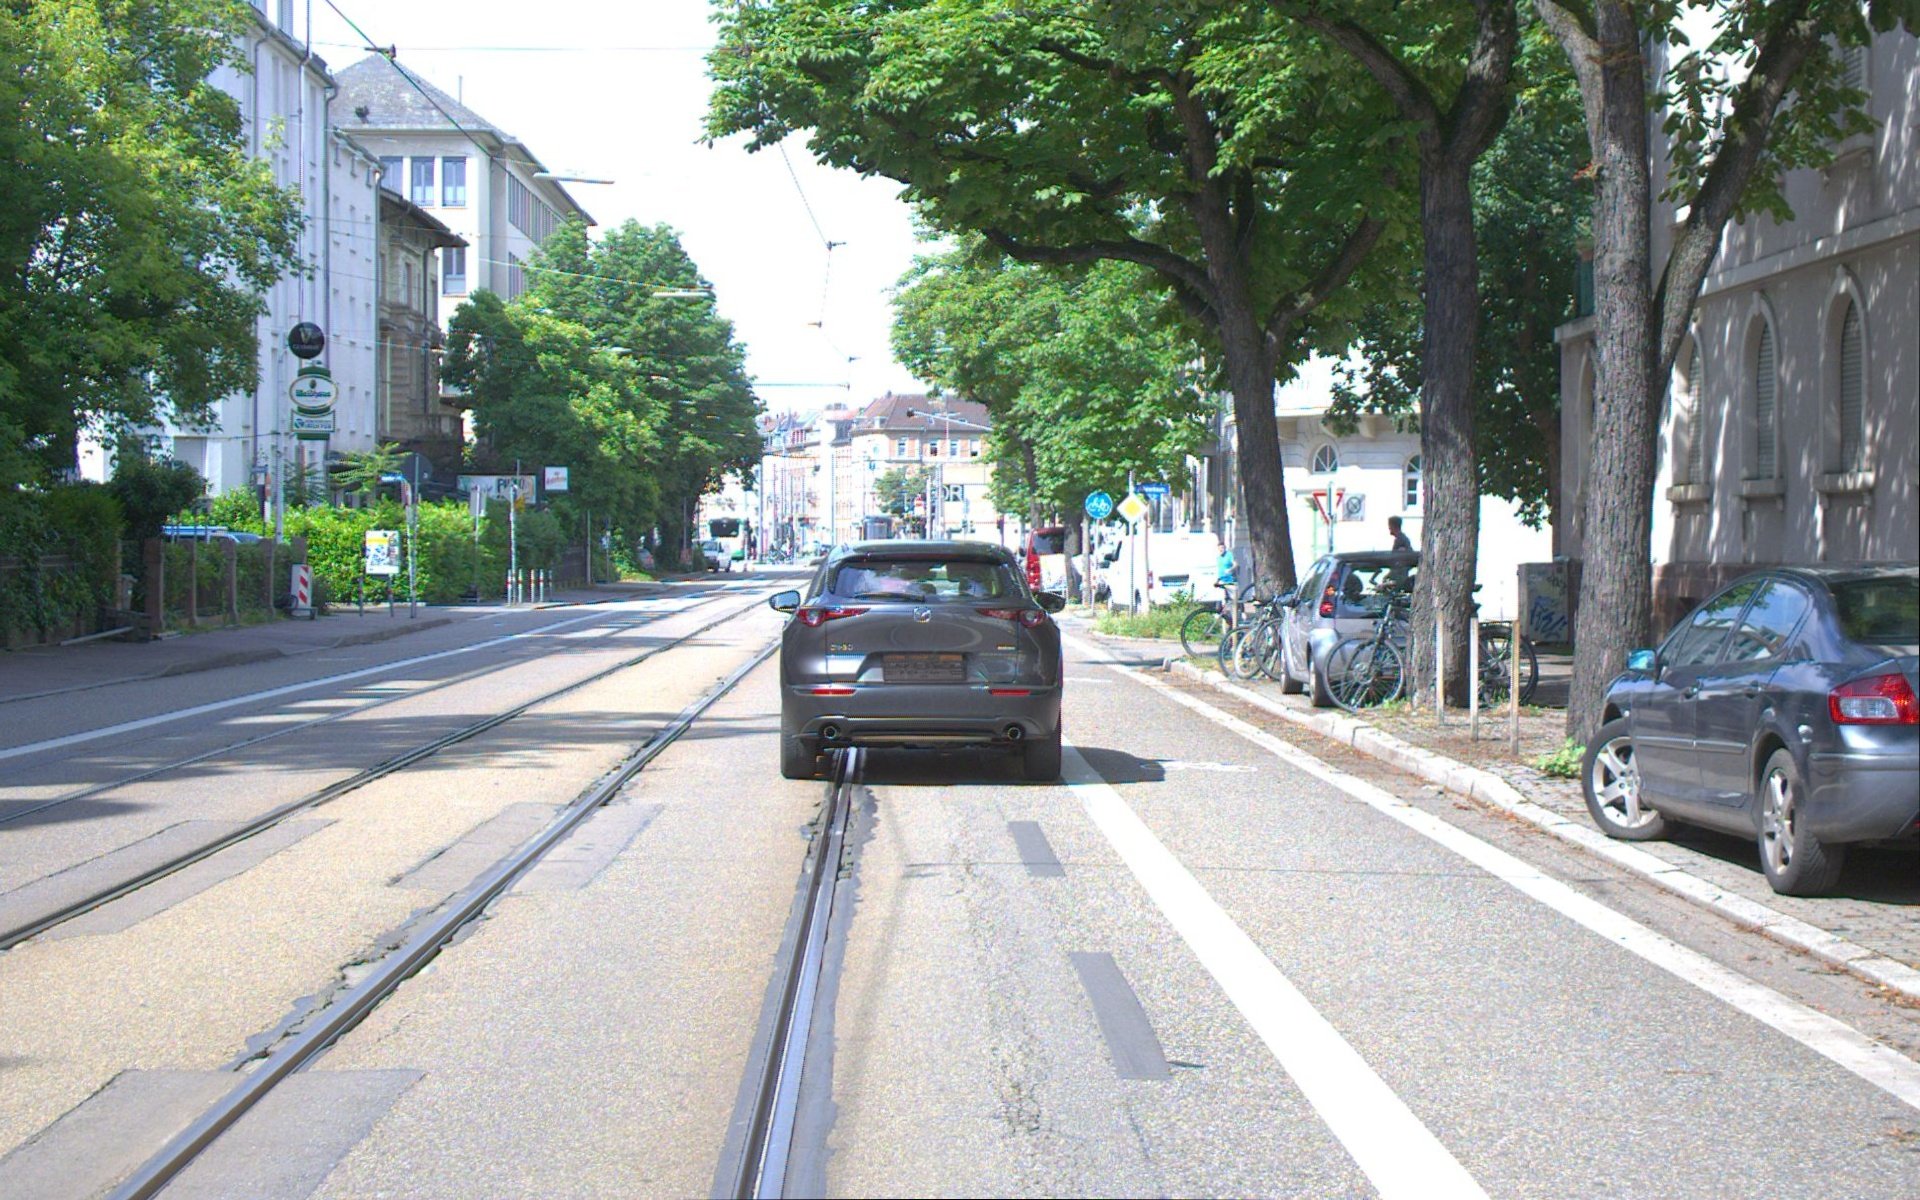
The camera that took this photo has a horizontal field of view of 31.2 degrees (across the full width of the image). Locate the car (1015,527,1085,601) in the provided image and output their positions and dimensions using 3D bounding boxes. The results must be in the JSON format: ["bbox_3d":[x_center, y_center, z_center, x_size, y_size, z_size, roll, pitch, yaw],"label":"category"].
[{"bbox_3d":[2.405,-0.979,92.513,1.720,1.962,4.207,0,1,0],"label":"car"}]

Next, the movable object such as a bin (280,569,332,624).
[{"bbox_3d":[-12.128,-0.070,63.786,0.745,0.984,1.114,2,1,-1],"label":"movable object such as a bin"}]

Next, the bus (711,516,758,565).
[{"bbox_3d":[-16.536,-4.354,251.825,2.688,3.409,11.020,2,1,-7],"label":"bus"}]

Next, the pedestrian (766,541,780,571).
[{"bbox_3d":[-12.512,-2.975,230.129,0.884,2.007,0.618,0,1,-5],"label":"pedestrian"}]

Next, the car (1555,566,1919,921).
[{"bbox_3d":[4.309,0.570,16.423,1.846,1.404,4.395,-2,1,-4],"label":"car"}]

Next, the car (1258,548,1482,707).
[{"bbox_3d":[3.972,0.228,33.802,1.666,1.425,3.766,-2,1,-1],"label":"car"}]

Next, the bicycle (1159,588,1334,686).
[{"bbox_3d":[3.185,0.414,38.295,1.903,1.068,0.402,0,1,-1],"label":"bicycle"}]

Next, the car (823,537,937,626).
[{"bbox_3d":[-1.498,-0.359,64.109,1.993,1.523,4.000,2,1,-1],"label":"car"}]

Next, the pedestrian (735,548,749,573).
[{"bbox_3d":[-13.046,-2.351,205.749,0.751,1.505,0.824,0,1,-5],"label":"pedestrian"}]

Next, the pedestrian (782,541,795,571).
[{"bbox_3d":[-11.489,-2.962,230.260,0.884,2.007,0.618,0,1,-5],"label":"pedestrian"}]

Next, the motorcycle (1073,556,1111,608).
[{"bbox_3d":[3.278,-0.463,85.648,0.794,1.267,2.422,0,1,-1],"label":"motorcycle"}]

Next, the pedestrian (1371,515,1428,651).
[{"bbox_3d":[5.985,-0.224,46.837,0.610,1.830,0.879,0,-1,-3],"label":"pedestrian"}]

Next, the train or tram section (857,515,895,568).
[{"bbox_3d":[-6.035,-4.220,248.725,2.571,3.760,13.026,0,1,-1],"label":"train or tram section"}]

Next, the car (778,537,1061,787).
[{"bbox_3d":[-0.294,0.352,22.799,1.720,1.521,3.590,0,1,-1],"label":"car"}]

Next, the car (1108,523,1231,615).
[{"bbox_3d":[4.531,-0.699,75.117,1.786,1.932,4.992,0,1,-7],"label":"car"}]

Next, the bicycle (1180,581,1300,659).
[{"bbox_3d":[3.525,0.248,43.367,1.491,0.980,0.259,0,0,1],"label":"bicycle"}]

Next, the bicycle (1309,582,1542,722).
[{"bbox_3d":[3.971,0.444,29.306,1.938,1.172,0.513,-1,0,11],"label":"bicycle"}]

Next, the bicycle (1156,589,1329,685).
[{"bbox_3d":[3.183,0.415,38.776,1.903,1.068,0.402,0,1,-1],"label":"bicycle"}]

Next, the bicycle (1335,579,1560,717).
[{"bbox_3d":[4.233,0.414,29.839,1.895,1.172,0.513,-1,0,11],"label":"bicycle"}]

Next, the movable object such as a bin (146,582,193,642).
[{"bbox_3d":[-11.746,0.181,51.119,0.562,0.873,0.616,0,1,-1],"label":"movable object such as a bin"}]

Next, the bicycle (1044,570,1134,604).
[{"bbox_3d":[3.317,-0.345,88.624,2.275,0.858,0.672,0,1,-2],"label":"bicycle"}]

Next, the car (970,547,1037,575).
[{"bbox_3d":[2.761,-2.472,217.508,3.805,1.612,1.638,2,1,-19],"label":"car"}]

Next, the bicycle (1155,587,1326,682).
[{"bbox_3d":[3.196,0.389,39.190,1.903,1.068,0.402,0,1,-1],"label":"bicycle"}]
